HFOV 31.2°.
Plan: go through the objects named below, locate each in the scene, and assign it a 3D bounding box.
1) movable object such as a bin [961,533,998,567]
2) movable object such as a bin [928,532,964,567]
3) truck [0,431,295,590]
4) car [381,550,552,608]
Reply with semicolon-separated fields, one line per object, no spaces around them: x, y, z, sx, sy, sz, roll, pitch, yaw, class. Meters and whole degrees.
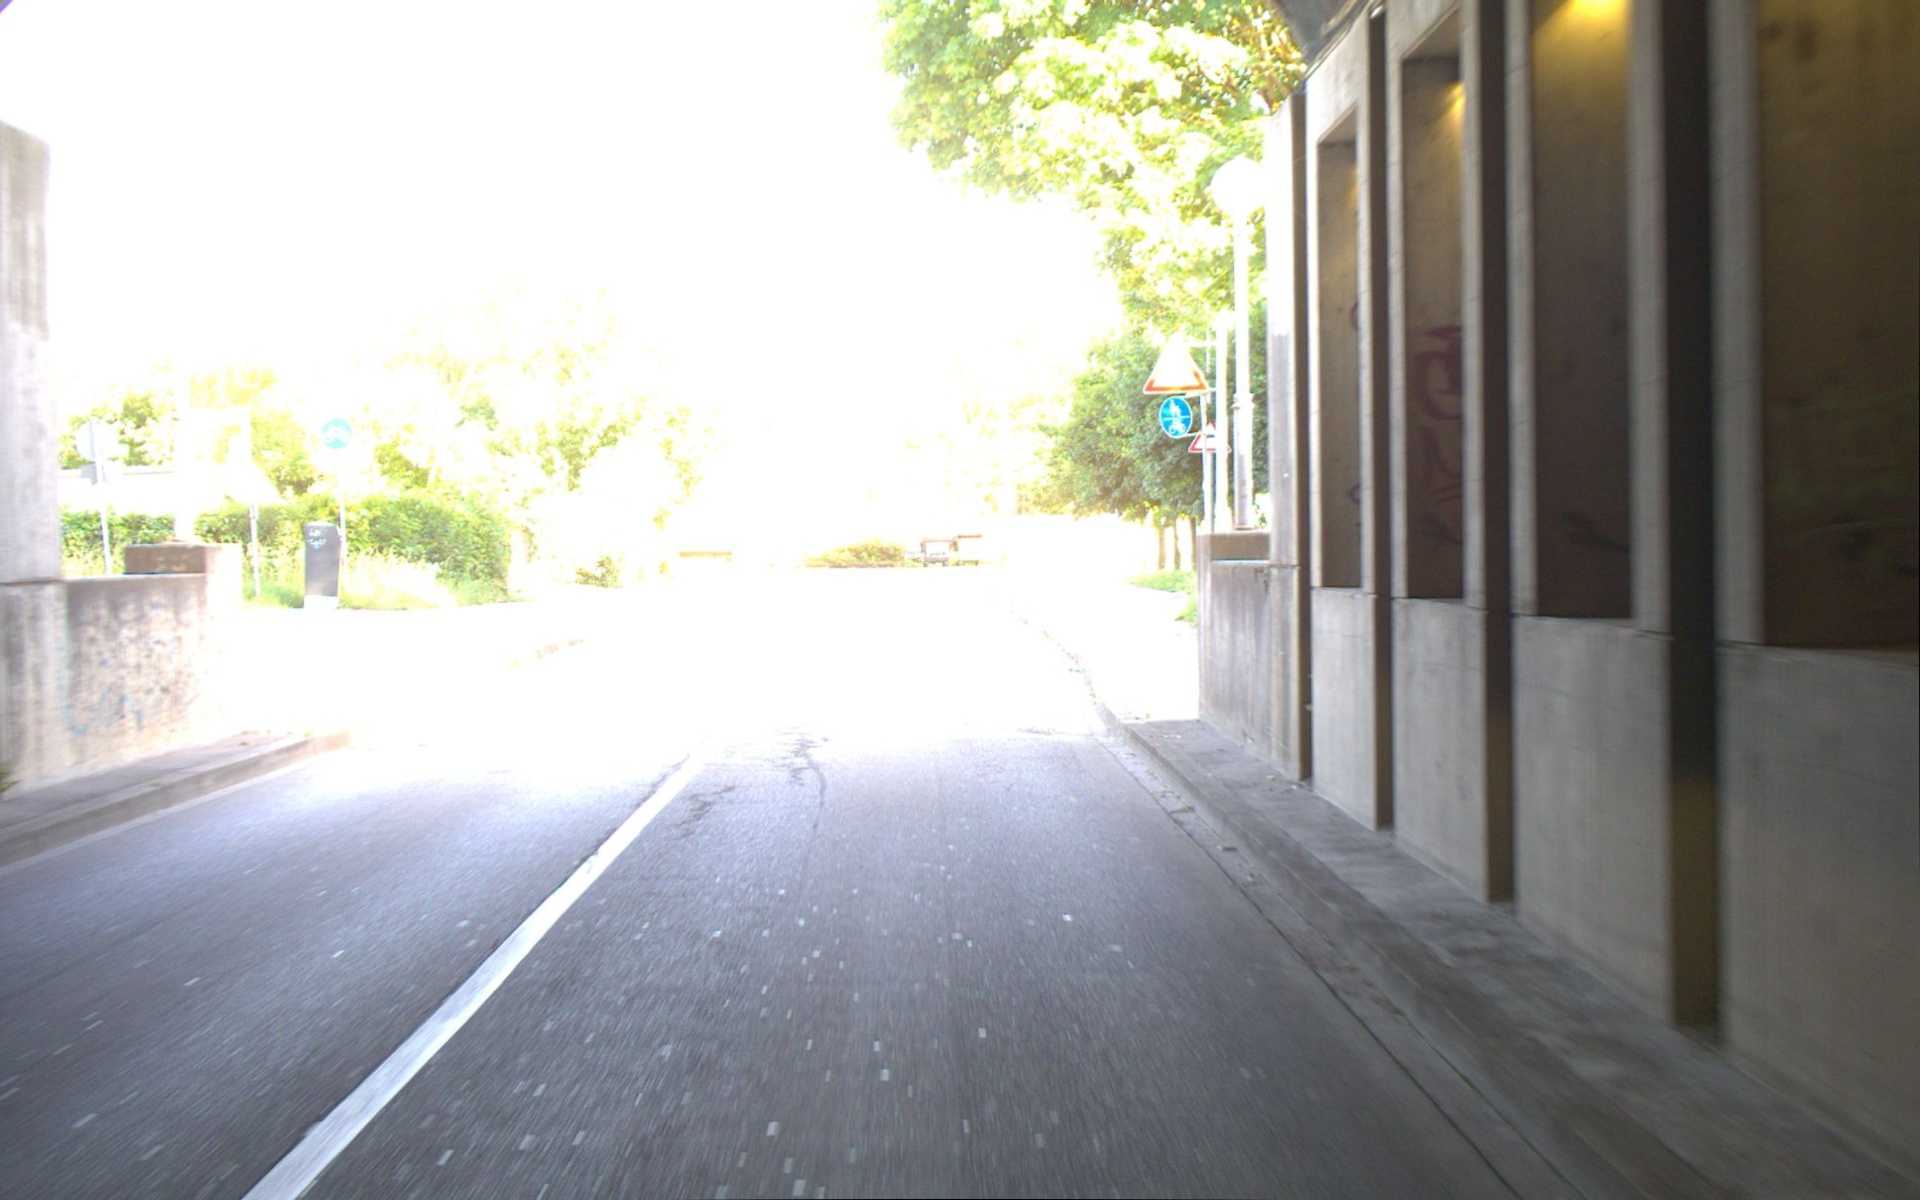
0.820;-2.089;144.621;1.364;1.413;1.066;1;0;-7;movable object such as a bin
-0.588;-2.113;144.405;1.364;1.413;1.066;1;0;-7;movable object such as a bin
-21.713;-2.243;88.831;9.319;3.870;2.707;0;-1;29;truck
-13.283;-0.573;92.547;4.216;1.485;1.874;1;0;26;car
